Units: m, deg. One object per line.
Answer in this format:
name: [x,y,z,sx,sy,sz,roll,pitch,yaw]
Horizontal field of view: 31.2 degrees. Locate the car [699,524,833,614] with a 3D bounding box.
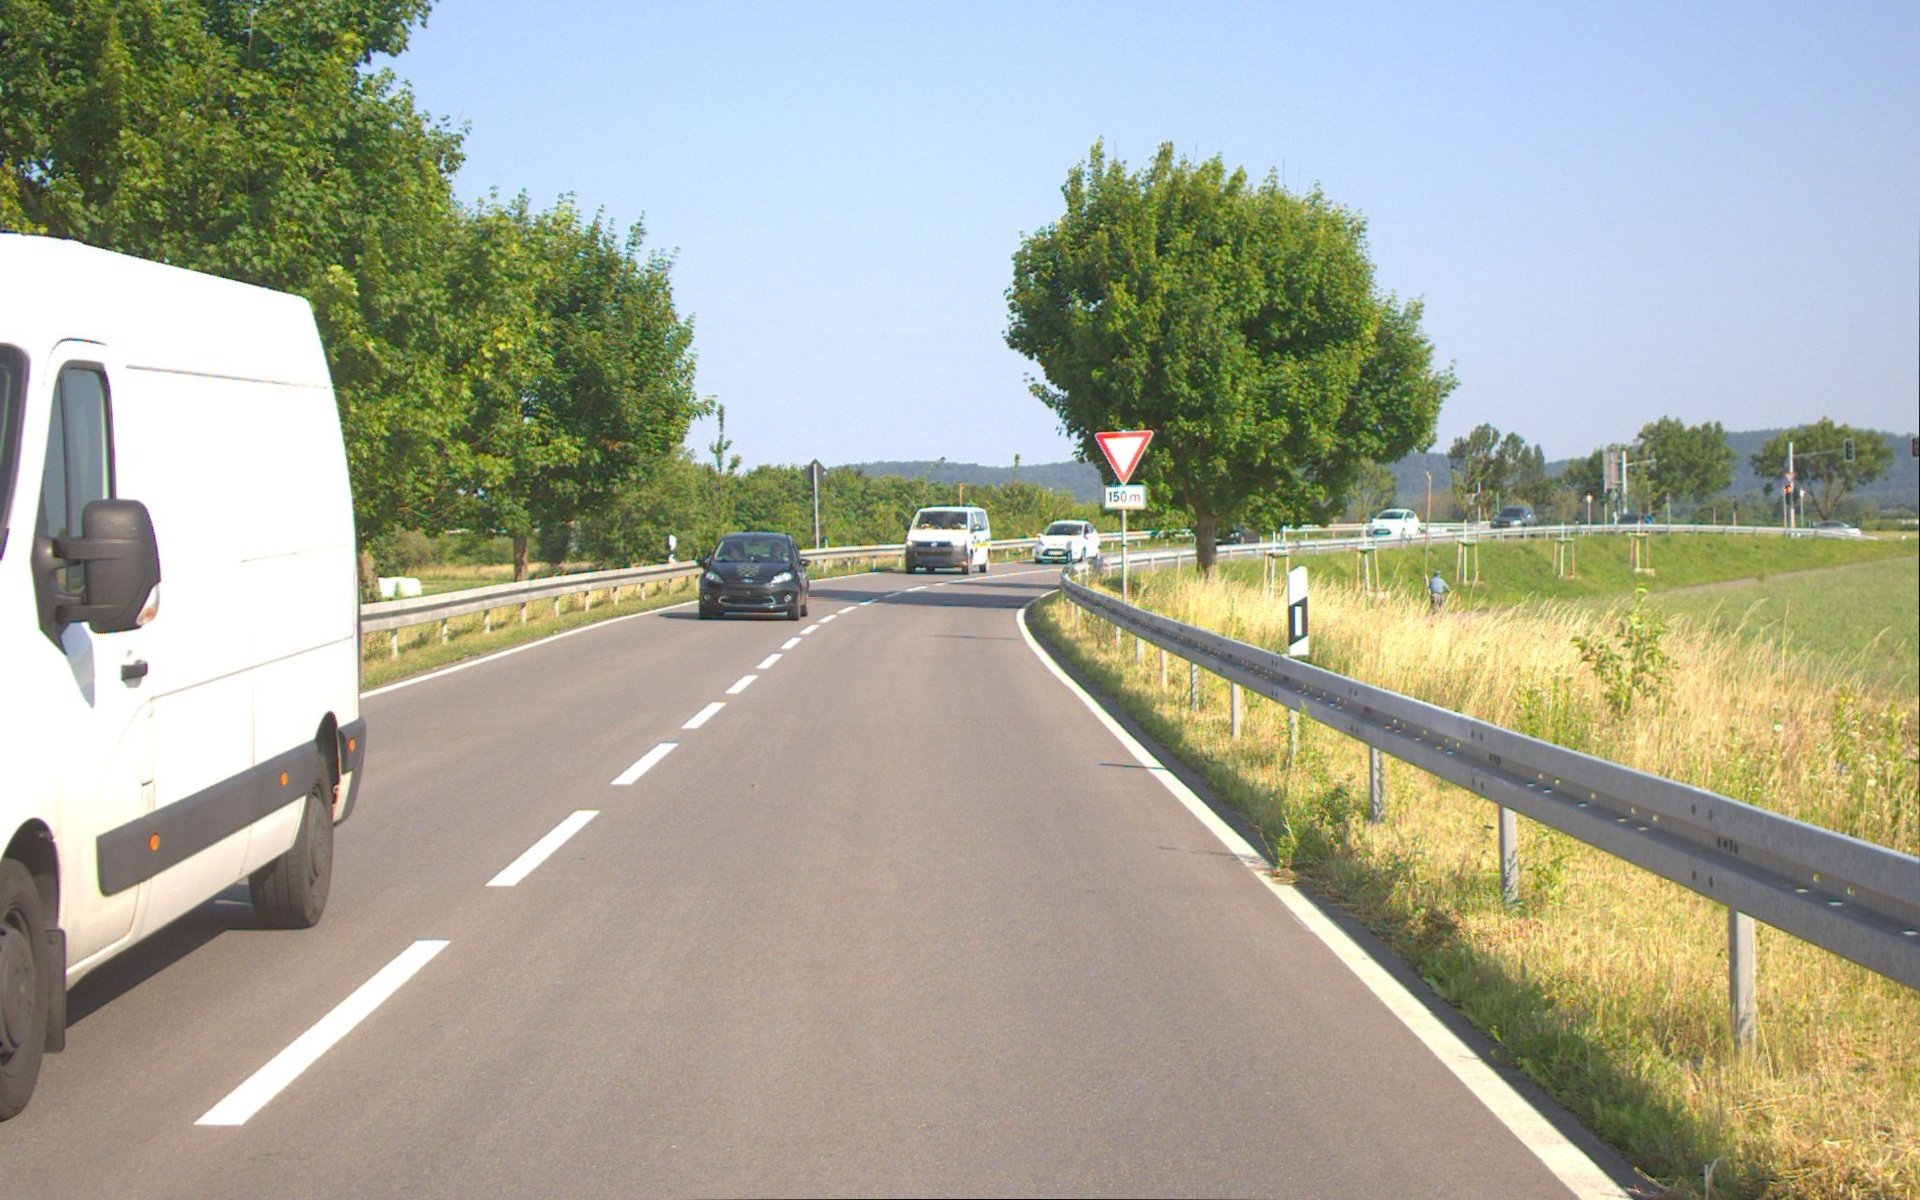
car: [-3.255,-0.547,58.363,1.644,1.466,3.806,1,1,7]

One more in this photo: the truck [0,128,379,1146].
truck: [-3.390,0.040,11.151,1.993,2.511,6.244,0,1,-1]

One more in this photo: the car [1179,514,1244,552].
car: [10.492,-2.777,143.112,1.995,1.527,4.589,1,1,13]

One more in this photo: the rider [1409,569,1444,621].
rider: [13.817,-0.155,101.759,0.610,1.522,1.824,1,0,20]

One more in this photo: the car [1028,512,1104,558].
car: [3.688,-2.241,118.857,1.903,1.527,4.589,1,1,11]

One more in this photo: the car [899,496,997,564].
car: [-0.321,-2.035,99.842,1.994,1.878,4.589,1,1,10]
